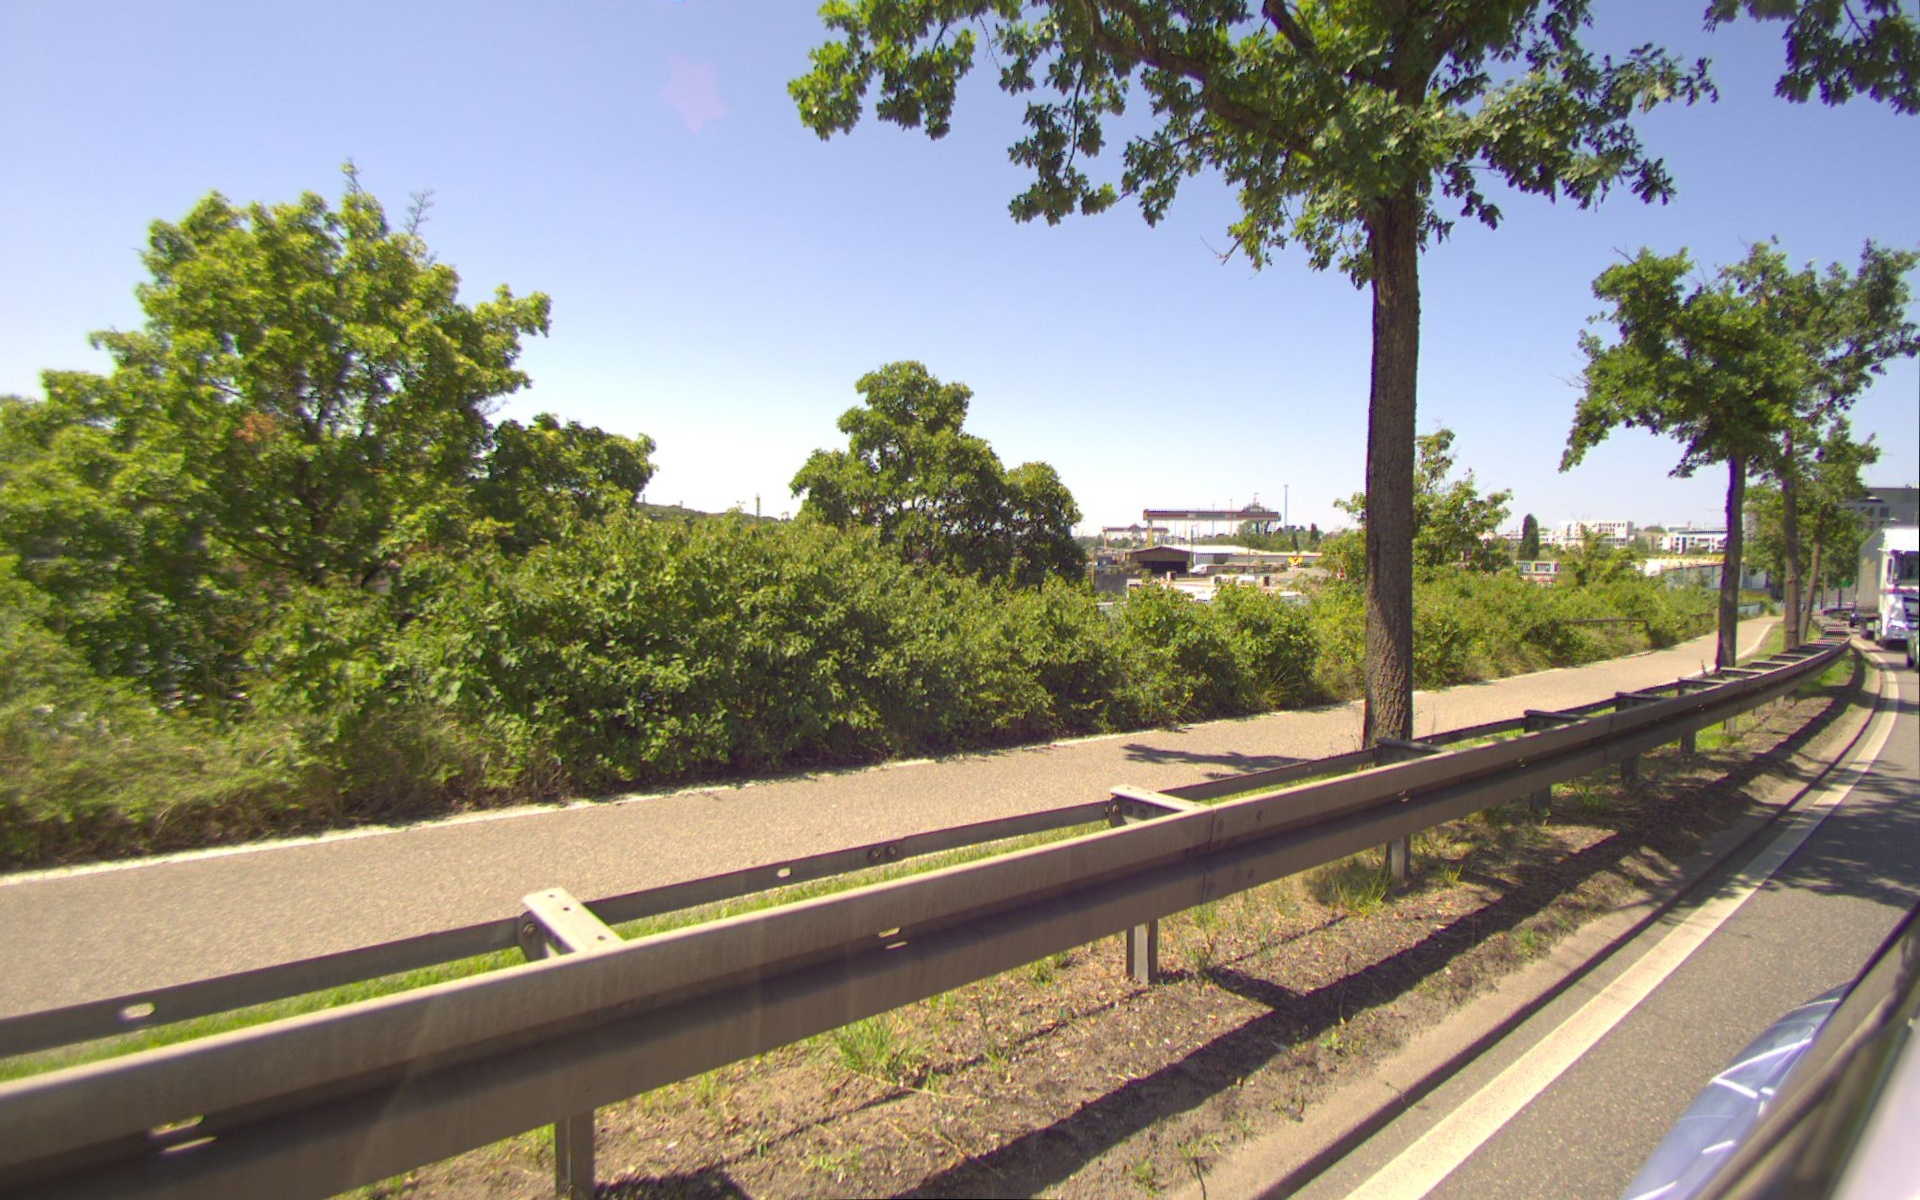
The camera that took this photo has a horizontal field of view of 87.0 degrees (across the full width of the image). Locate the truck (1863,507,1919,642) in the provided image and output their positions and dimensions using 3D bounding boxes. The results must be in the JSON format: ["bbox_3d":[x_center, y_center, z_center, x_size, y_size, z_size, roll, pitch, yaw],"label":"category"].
[{"bbox_3d":[35.993,-0.845,37.518,3.058,4.223,16.669,0,0,39],"label":"truck"}]
